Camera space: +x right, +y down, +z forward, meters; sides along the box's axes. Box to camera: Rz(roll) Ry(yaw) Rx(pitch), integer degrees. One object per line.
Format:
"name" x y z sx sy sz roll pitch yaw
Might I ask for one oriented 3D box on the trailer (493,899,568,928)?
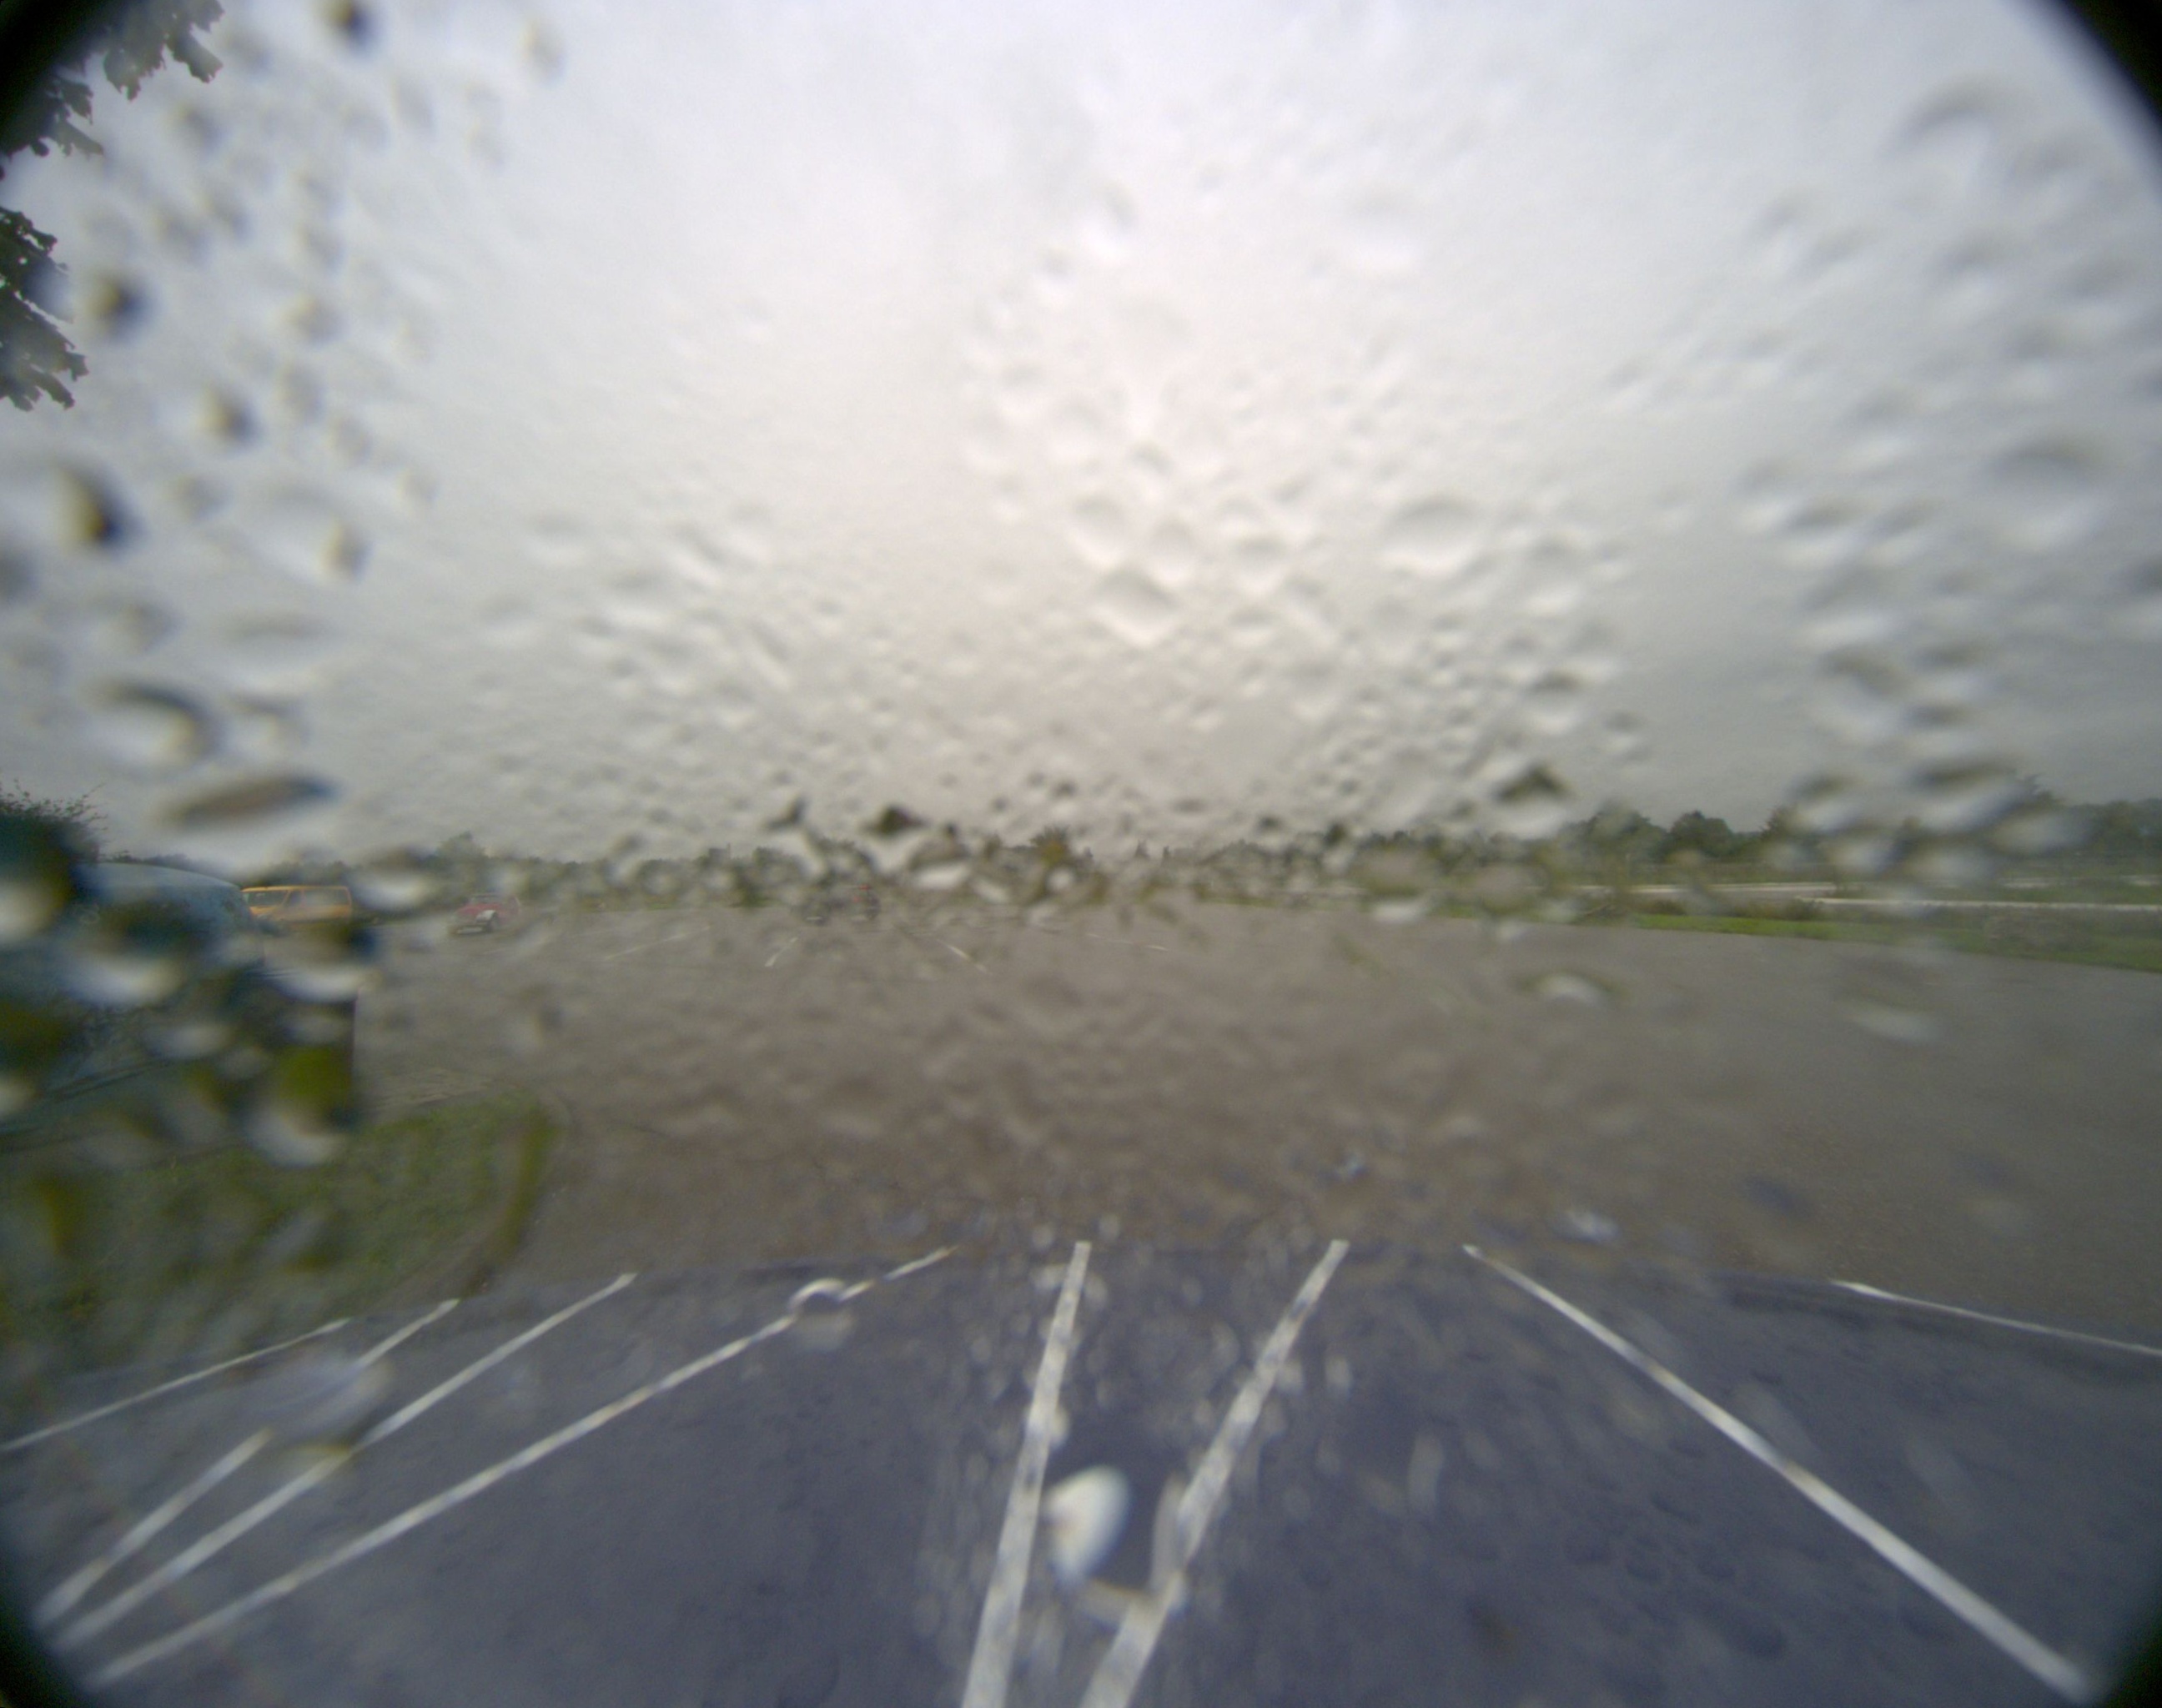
"trailer" -24.009 2.581 33.256 1.589 1.061 3.028 -2 -2 -13

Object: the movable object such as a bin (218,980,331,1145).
"movable object such as a bin" -5.280 1.336 4.999 0.451 0.911 0.487 -1 -1 -40

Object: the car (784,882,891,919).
"car" -10.252 1.967 31.993 4.069 1.425 1.783 -2 -1 22

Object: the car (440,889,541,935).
"car" -23.034 2.222 29.801 1.550 1.546 4.053 -1 -1 -13

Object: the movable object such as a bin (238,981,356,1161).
"movable object such as a bin" -4.818 1.303 4.694 0.451 0.933 0.487 -1 -1 -40

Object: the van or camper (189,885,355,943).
"van or camper" -36.018 2.556 34.173 2.136 2.233 6.410 -1 -1 -16

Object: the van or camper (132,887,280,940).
"van or camper" -49.700 3.296 43.478 2.001 2.698 7.060 0 -2 -16
